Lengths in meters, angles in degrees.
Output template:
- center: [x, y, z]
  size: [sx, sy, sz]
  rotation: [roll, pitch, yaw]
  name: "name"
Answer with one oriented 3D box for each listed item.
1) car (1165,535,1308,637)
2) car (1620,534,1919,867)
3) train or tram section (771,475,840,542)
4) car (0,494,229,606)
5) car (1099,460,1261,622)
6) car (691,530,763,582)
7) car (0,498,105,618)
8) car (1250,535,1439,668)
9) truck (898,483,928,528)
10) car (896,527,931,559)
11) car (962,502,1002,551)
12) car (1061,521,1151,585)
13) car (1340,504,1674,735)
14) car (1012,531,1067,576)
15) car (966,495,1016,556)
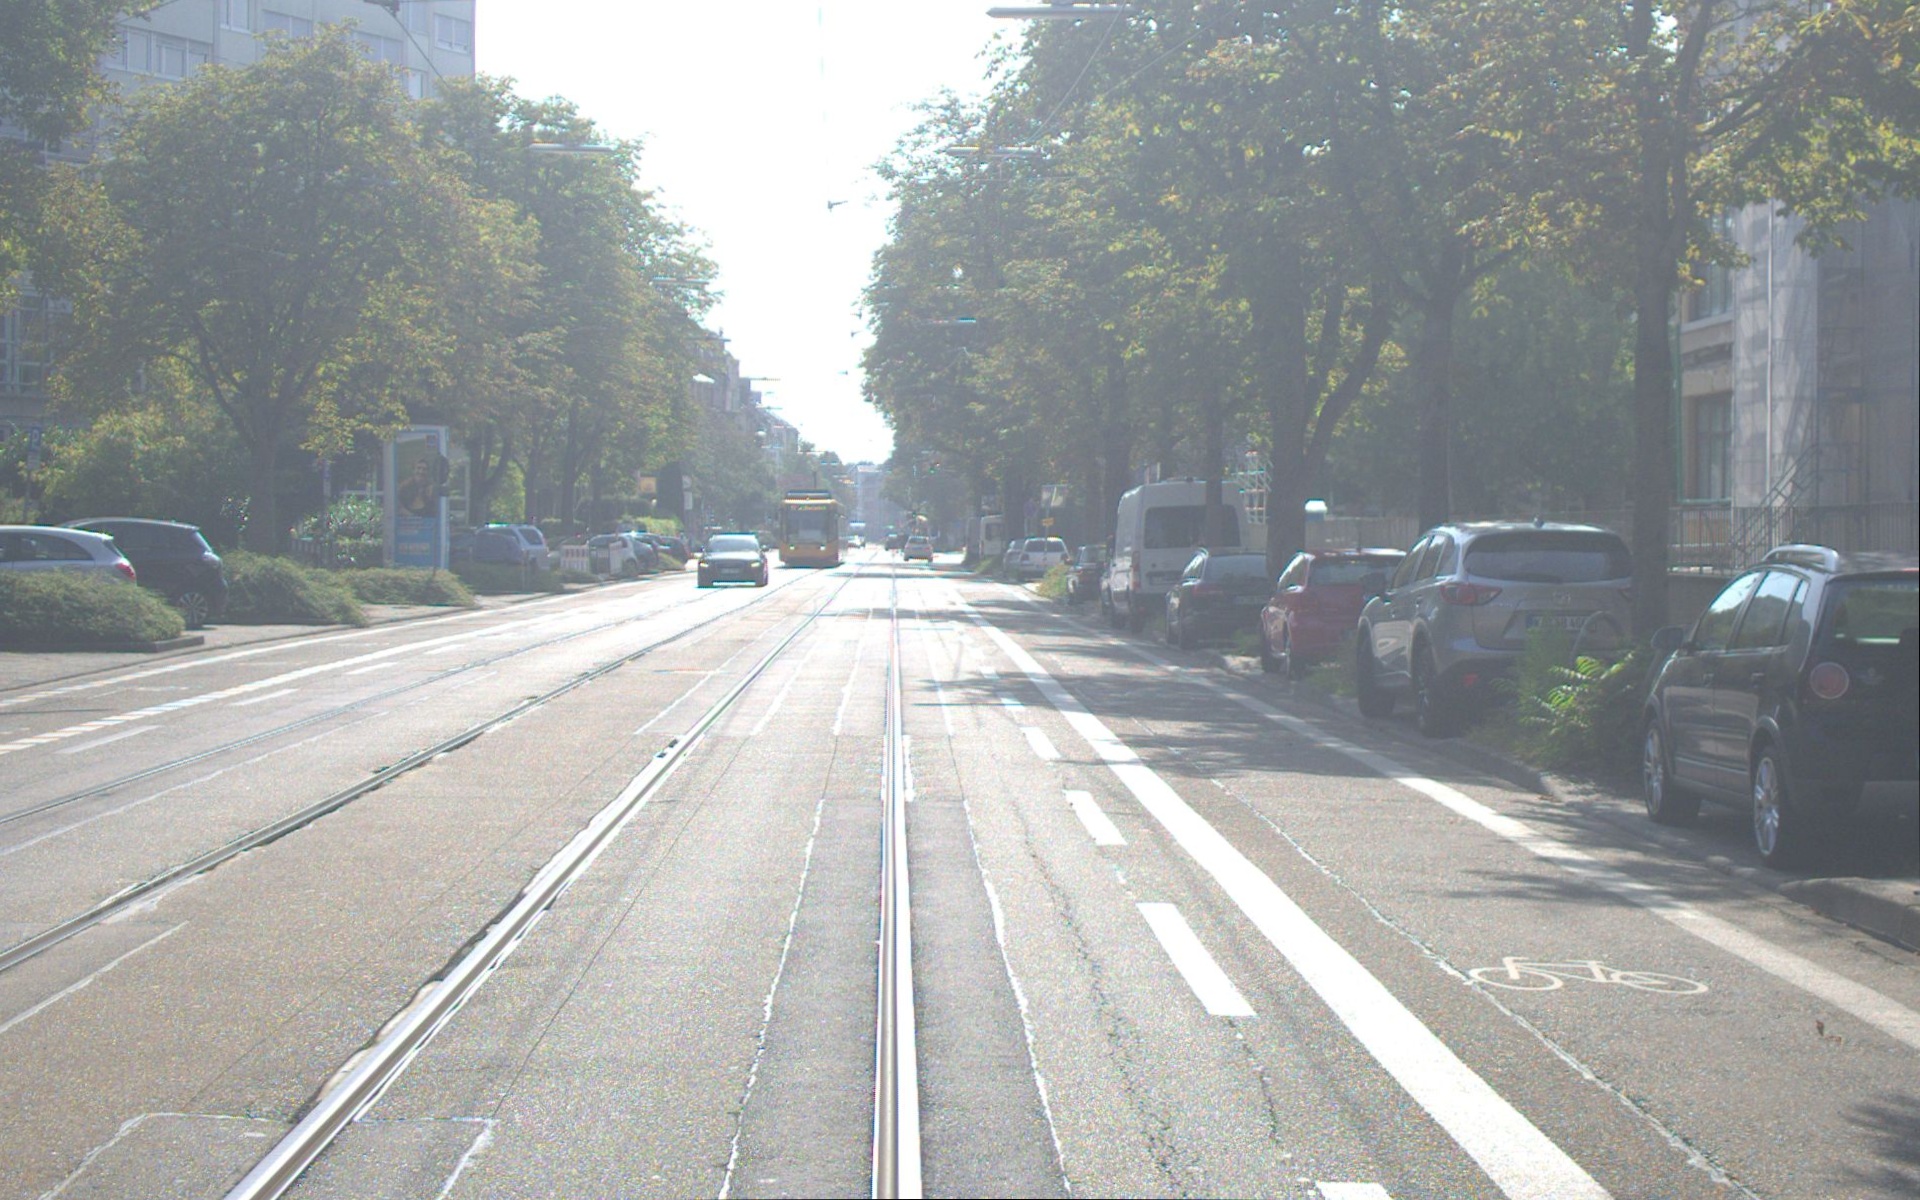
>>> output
- center: [3.870, -0.235, 48.742]
  size: [1.616, 1.369, 4.827]
  rotation: [0, 1, 0]
  name: "car"
- center: [4.583, 0.429, 17.764]
  size: [1.576, 1.479, 3.739]
  rotation: [-1, 2, 0]
  name: "car"
- center: [-7.056, -4.149, 158.610]
  size: [2.729, 2.884, 15.456]
  rotation: [0, 1, -1]
  name: "train or tram section"
- center: [-12.555, -0.732, 49.560]
  size: [3.633, 1.510, 1.622]
  rotation: [1, 1, -26]
  name: "car"
- center: [3.712, -1.019, 59.035]
  size: [2.082, 2.544, 5.502]
  rotation: [-3, 1, -2]
  name: "car"
- center: [-6.413, -1.231, 94.996]
  size: [1.828, 1.371, 4.513]
  rotation: [1, 1, -2]
  name: "car"
- center: [-12.844, -0.545, 42.672]
  size: [3.987, 1.474, 1.789]
  rotation: [0, 1, -30]
  name: "car"
- center: [4.243, -0.023, 38.437]
  size: [1.616, 1.408, 4.000]
  rotation: [0, 1, -1]
  name: "car"
- center: [-3.329, -6.661, 242.686]
  size: [1.860, 3.120, 4.353]
  rotation: [1, 1, -3]
  name: "truck"
- center: [-2.724, -3.390, 203.669]
  size: [1.993, 1.831, 4.000]
  rotation: [1, 1, 0]
  name: "car"
- center: [1.123, -3.859, 180.020]
  size: [2.004, 2.466, 4.477]
  rotation: [1, 1, 0]
  name: "car"
- center: [3.287, -1.079, 78.008]
  size: [1.753, 1.373, 4.719]
  rotation: [-1, 1, -1]
  name: "car"
- center: [4.324, 0.085, 27.842]
  size: [1.753, 1.685, 4.397]
  rotation: [1, 2, -3]
  name: "car"
- center: [2.567, -1.518, 111.503]
  size: [1.689, 1.413, 3.634]
  rotation: [1, 1, 0]
  name: "car"
- center: [1.382, -3.293, 153.109]
  size: [2.004, 2.482, 4.477]
  rotation: [4, 0, 0]
  name: "car"
